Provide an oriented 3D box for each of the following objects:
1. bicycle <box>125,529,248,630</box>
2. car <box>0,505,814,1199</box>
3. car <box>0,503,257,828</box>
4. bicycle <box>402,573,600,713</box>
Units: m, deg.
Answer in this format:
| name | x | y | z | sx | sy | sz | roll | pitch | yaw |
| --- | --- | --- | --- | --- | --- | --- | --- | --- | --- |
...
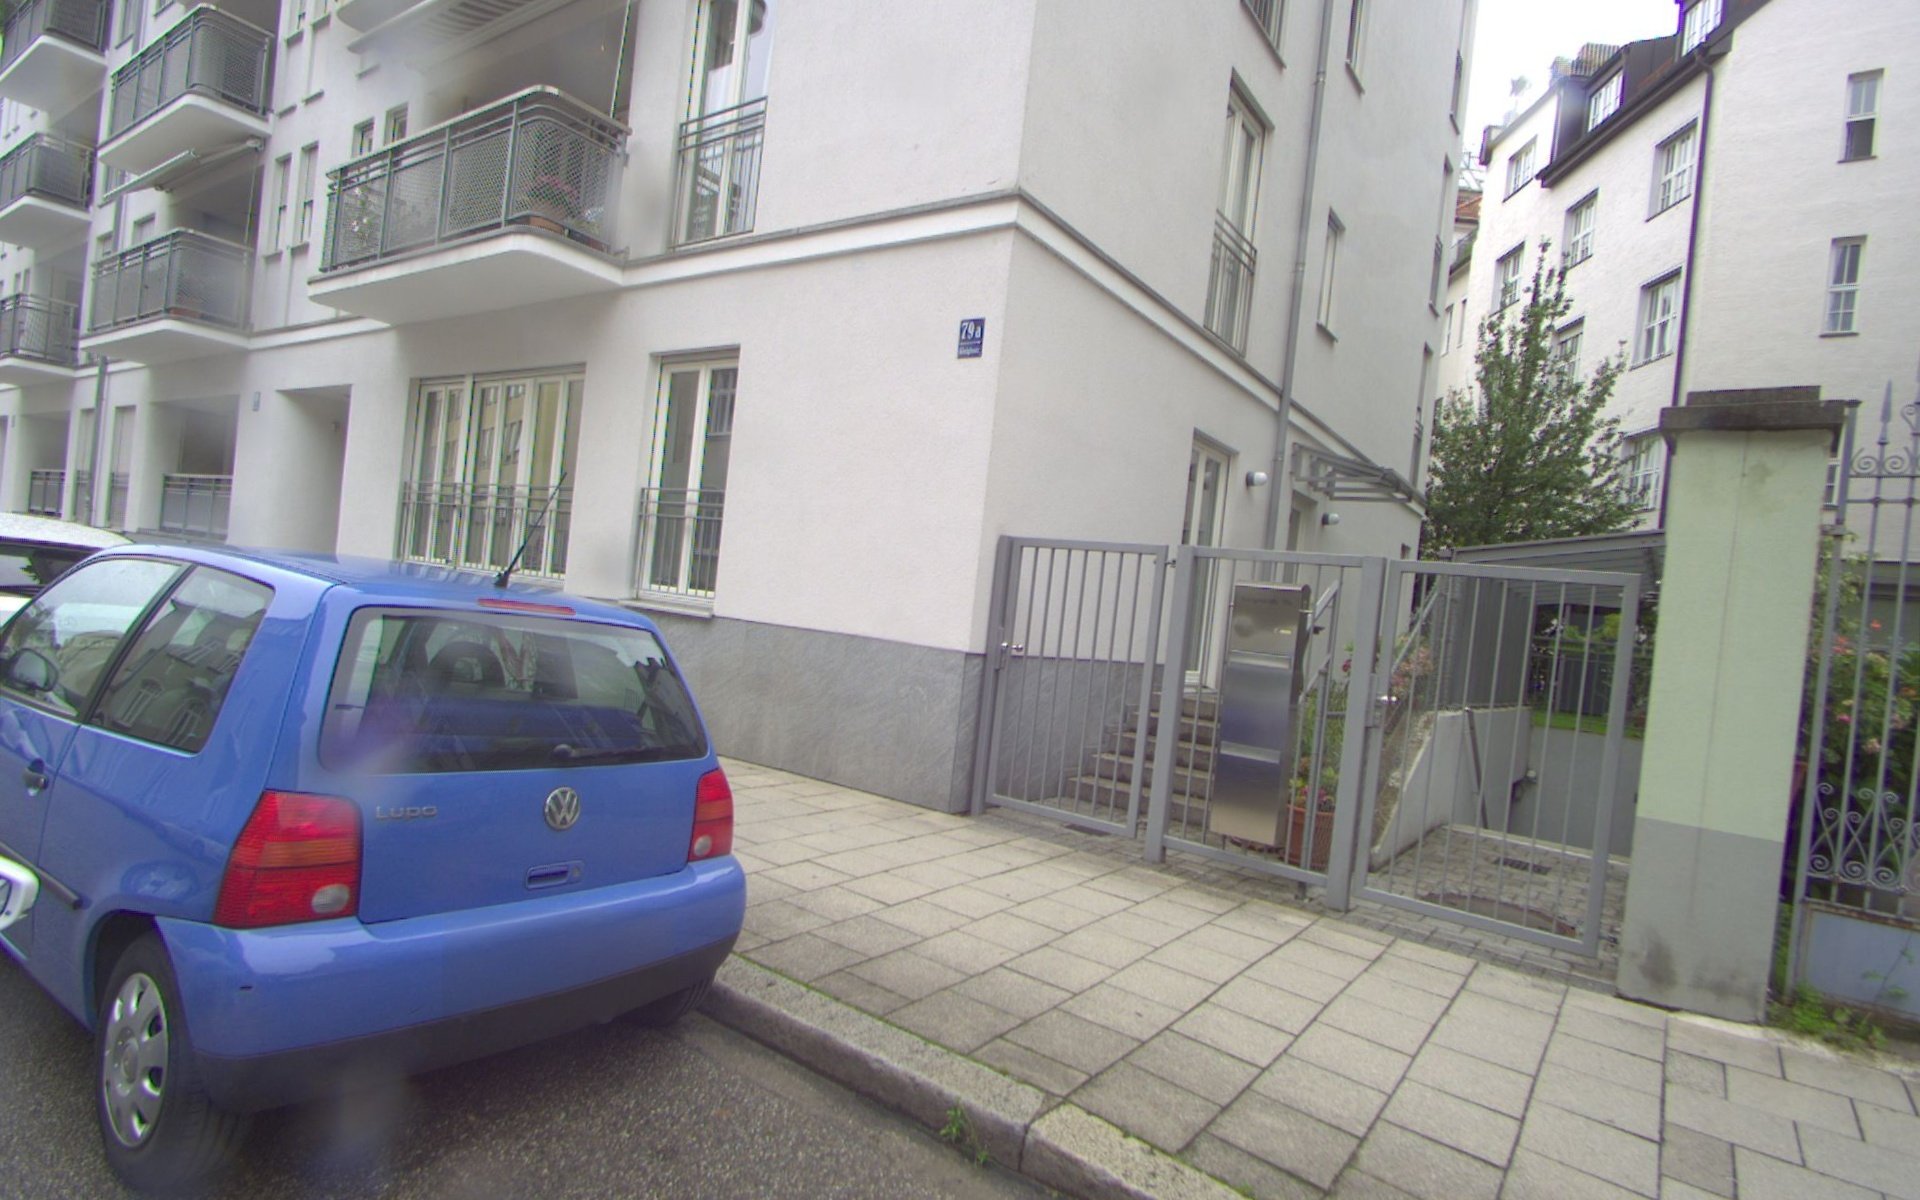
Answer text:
| name | x | y | z | sx | sy | sz | roll | pitch | yaw |
| --- | --- | --- | --- | --- | --- | --- | --- | --- | --- |
| bicycle | -10.639 | -0.294 | 13.816 | 2.093 | 1.175 | 0.627 | 6 | 1 | 34 |
| car | -2.449 | 0.522 | 3.607 | 3.497 | 1.428 | 1.621 | 6 | -3 | 34 |
| car | -5.946 | 0.131 | 5.771 | 4.140 | 1.456 | 1.660 | 6 | -3 | 34 |
| bicycle | -4.031 | 0.351 | 8.778 | 1.806 | 1.040 | 0.677 | 4 | -1 | 35 |
